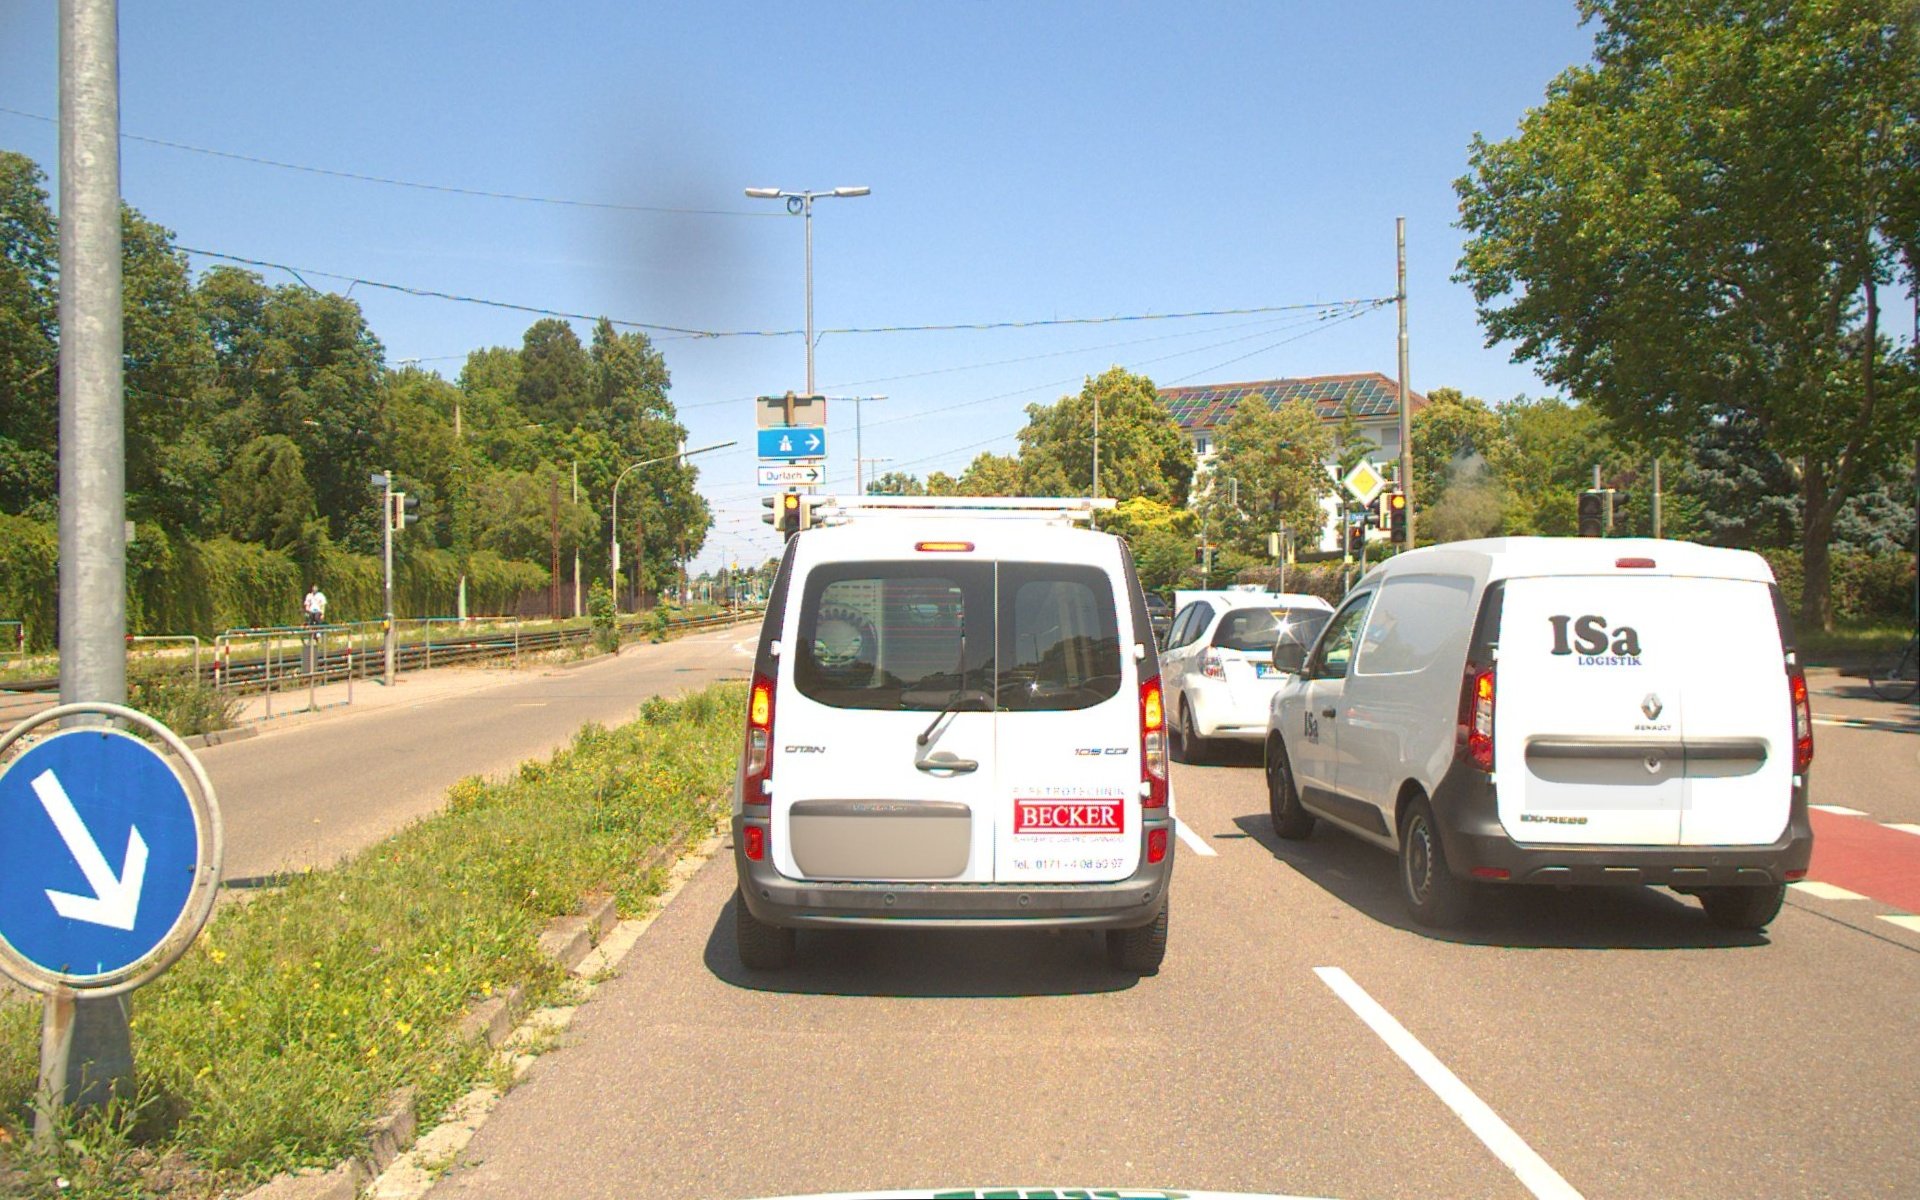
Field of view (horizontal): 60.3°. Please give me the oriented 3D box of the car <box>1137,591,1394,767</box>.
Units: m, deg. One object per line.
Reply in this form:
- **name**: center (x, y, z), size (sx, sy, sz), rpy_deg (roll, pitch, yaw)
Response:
- **car**: center (2.877, 0.680, 16.395), size (1.720, 1.512, 3.999), rpy_deg (1, 0, -1)

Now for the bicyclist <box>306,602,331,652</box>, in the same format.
- **bicyclist**: center (-19.530, 0.826, 50.349), size (0.546, 1.504, 0.561), rpy_deg (0, 0, 0)

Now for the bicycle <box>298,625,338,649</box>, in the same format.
- **bicycle**: center (-19.522, 1.122, 50.310), size (0.549, 0.659, 1.720), rpy_deg (0, 0, 0)

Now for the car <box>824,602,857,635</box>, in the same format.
- **car**: center (-7.494, 1.147, 104.034), size (1.953, 2.049, 3.998), rpy_deg (0, 0, -3)

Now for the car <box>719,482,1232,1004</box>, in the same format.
- **car**: center (0.003, 0.515, 7.897), size (1.829, 1.868, 3.847), rpy_deg (1, 0, -2)

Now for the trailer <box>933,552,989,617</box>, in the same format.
- **trailer**: center (-0.006, -0.985, 109.915), size (3.456, 4.121, 8.974), rpy_deg (0, 0, -2)

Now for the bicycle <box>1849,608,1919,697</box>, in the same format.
- **bicycle**: center (14.470, 0.773, 24.501), size (2.223, 1.291, 0.884), rpy_deg (0, 0, 35)

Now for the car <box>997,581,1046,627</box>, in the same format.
- **car**: center (2.732, 0.170, 72.814), size (1.951, 1.948, 4.002), rpy_deg (0, 0, 5)

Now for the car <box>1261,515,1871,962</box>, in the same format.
- **car**: center (2.917, 0.565, 8.947), size (1.676, 1.862, 4.011), rpy_deg (0, 0, -3)

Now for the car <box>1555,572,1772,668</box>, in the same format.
- **car**: center (14.393, 0.396, 34.070), size (3.903, 1.892, 2.001), rpy_deg (0, 0, 17)

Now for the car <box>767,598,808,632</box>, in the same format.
- **car**: center (-7.121, 0.587, 68.273), size (1.659, 1.334, 3.879), rpy_deg (0, 0, -6)

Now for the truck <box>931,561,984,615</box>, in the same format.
- **truck**: center (-0.249, -0.847, 118.807), size (3.504, 3.696, 8.804), rpy_deg (0, 0, -2)

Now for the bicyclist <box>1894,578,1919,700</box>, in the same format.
- **bicyclist**: center (14.446, 0.565, 24.526), size (0.938, 1.769, 1.128), rpy_deg (0, 0, 34)

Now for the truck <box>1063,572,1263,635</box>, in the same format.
- **truck**: center (6.878, 0.115, 56.595), size (6.596, 2.049, 2.297), rpy_deg (0, 0, 38)
